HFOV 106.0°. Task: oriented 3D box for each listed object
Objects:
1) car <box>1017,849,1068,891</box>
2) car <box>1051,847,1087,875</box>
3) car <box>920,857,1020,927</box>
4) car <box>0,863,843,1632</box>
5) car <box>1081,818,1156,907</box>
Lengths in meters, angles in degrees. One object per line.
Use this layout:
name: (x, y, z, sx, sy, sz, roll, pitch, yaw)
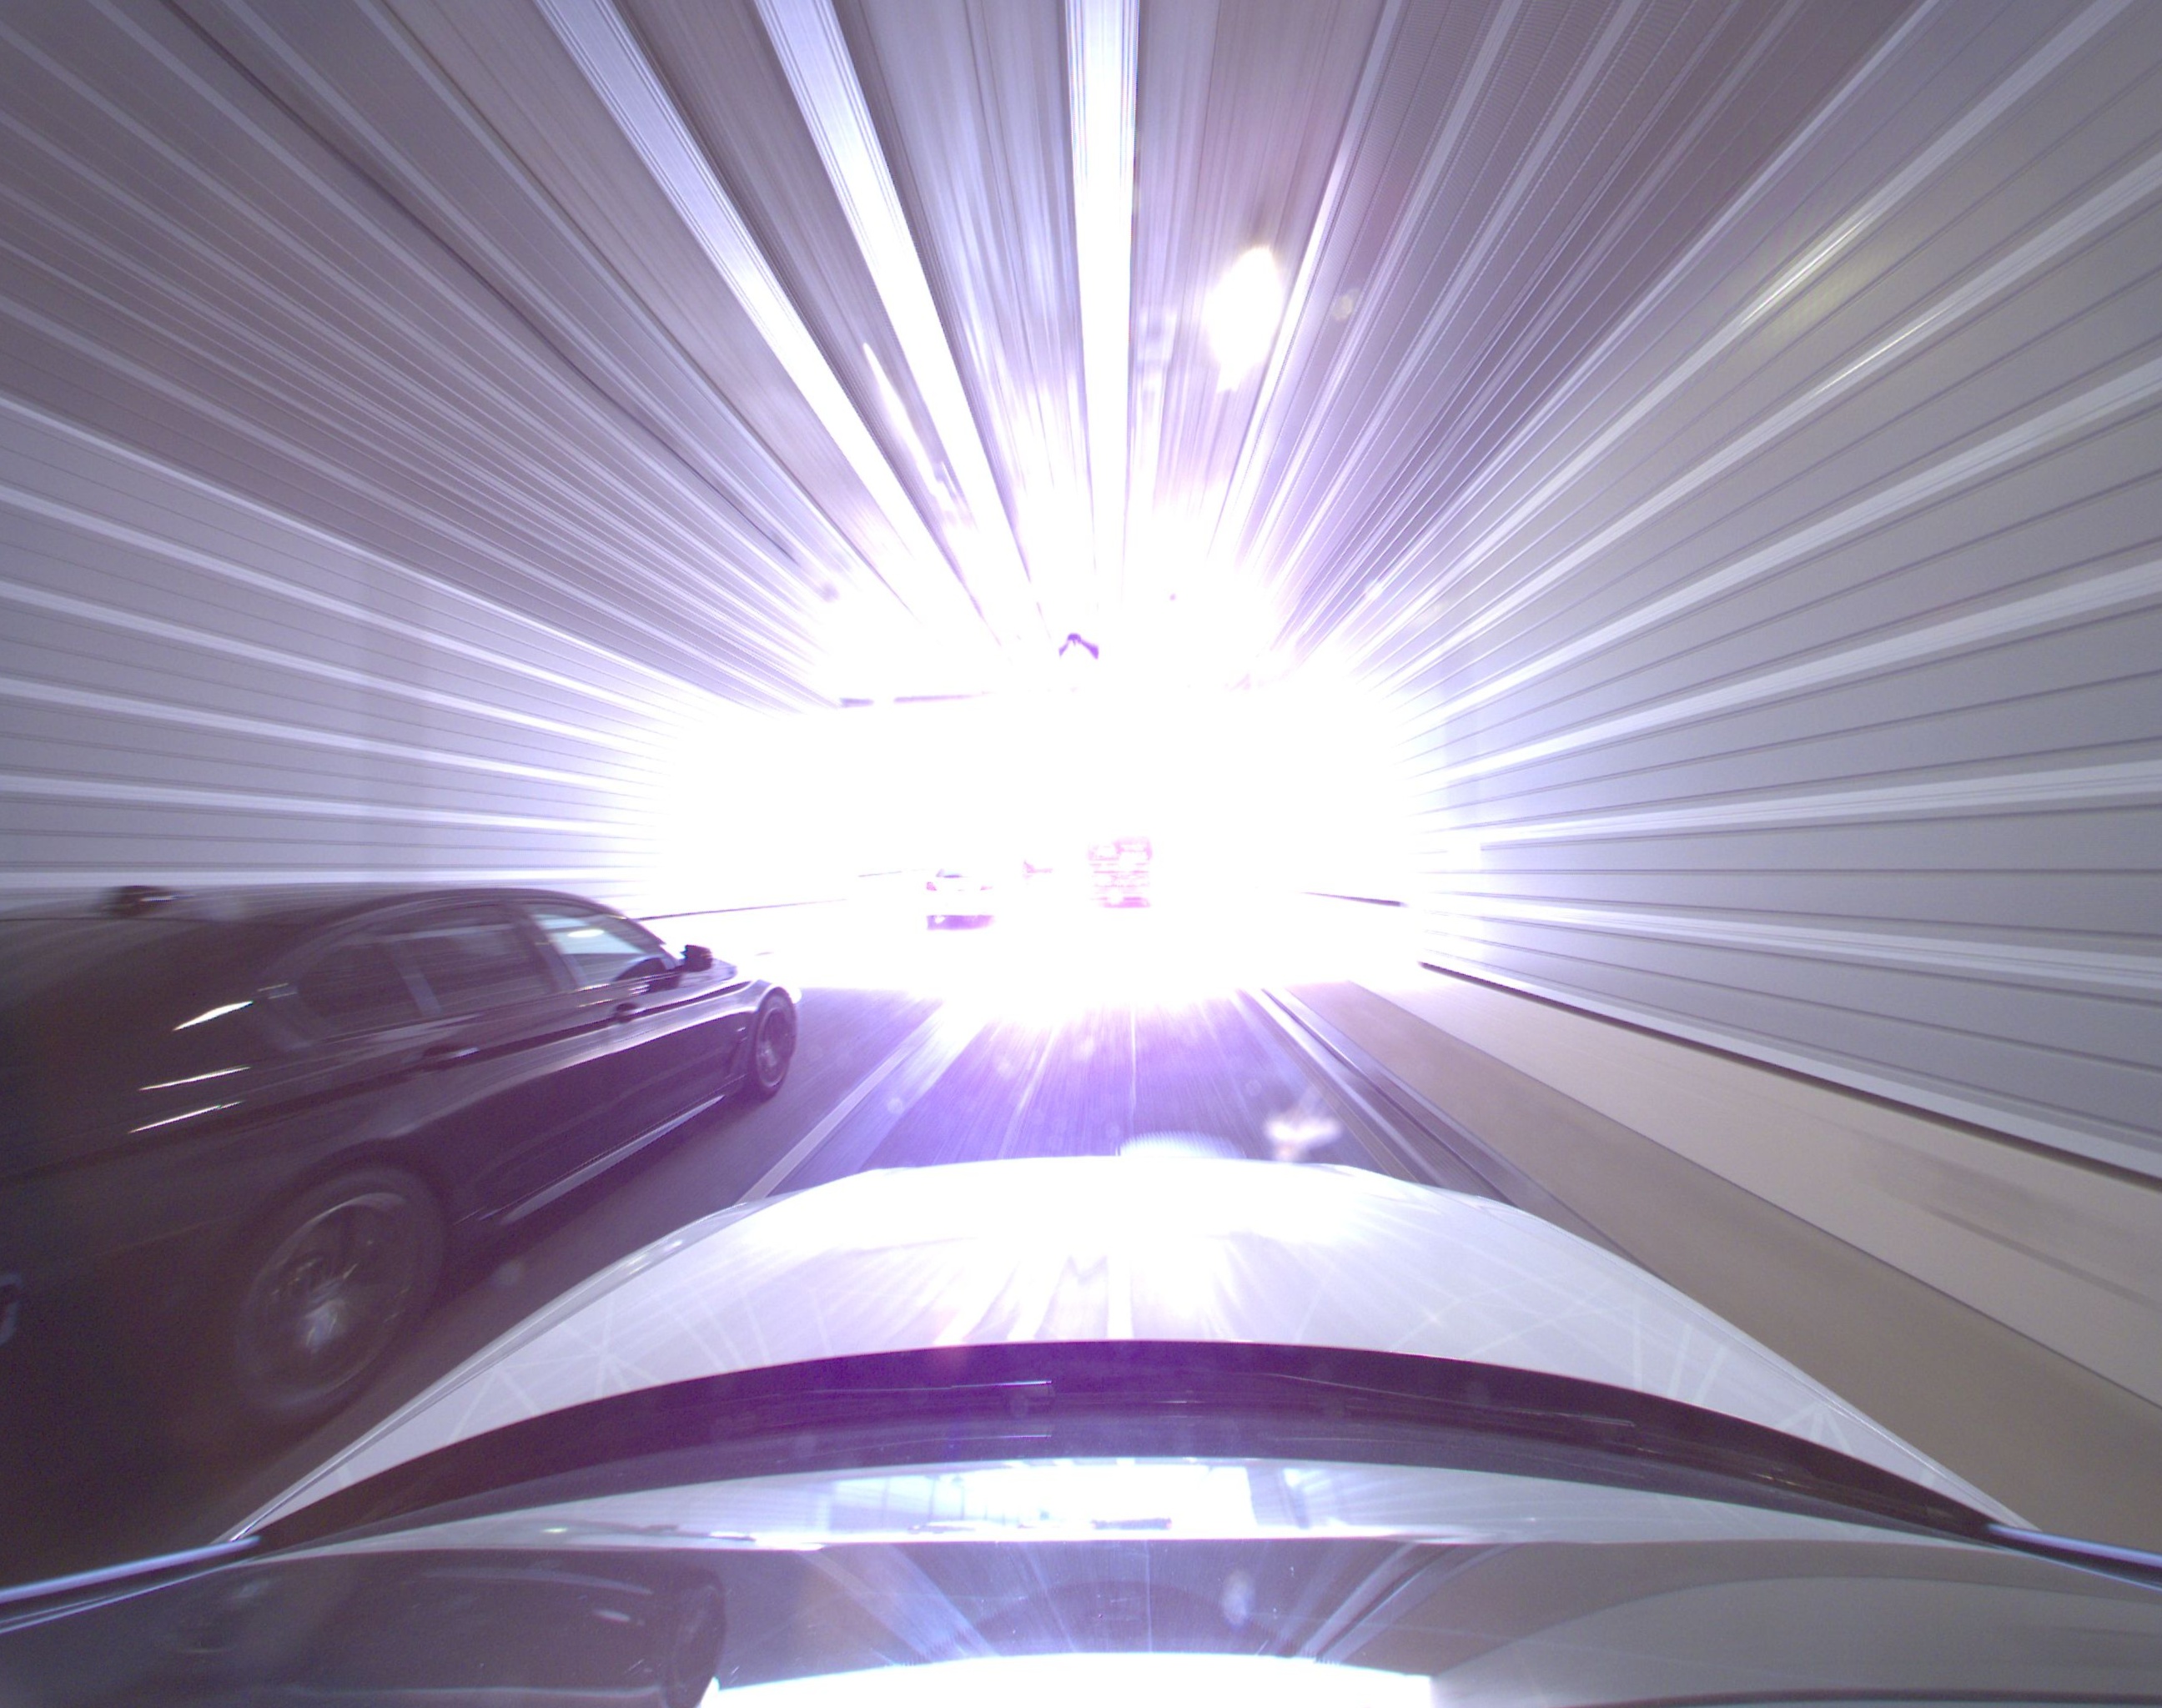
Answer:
car: (-1.496, 0.587, 32.457, 1.682, 1.483, 3.321, -1, 2, 3)
car: (-0.644, 0.388, 47.595, 1.884, 1.474, 3.993, -1, 1, 2)
car: (-2.489, 0.810, 19.169, 1.612, 1.403, 3.855, -1, 1, 3)
car: (-2.852, 0.782, 3.773, 1.801, 1.439, 5.005, -1, 0, 3)
car: (1.148, 0.225, 24.450, 2.021, 2.402, 3.976, -1, 0, 3)
